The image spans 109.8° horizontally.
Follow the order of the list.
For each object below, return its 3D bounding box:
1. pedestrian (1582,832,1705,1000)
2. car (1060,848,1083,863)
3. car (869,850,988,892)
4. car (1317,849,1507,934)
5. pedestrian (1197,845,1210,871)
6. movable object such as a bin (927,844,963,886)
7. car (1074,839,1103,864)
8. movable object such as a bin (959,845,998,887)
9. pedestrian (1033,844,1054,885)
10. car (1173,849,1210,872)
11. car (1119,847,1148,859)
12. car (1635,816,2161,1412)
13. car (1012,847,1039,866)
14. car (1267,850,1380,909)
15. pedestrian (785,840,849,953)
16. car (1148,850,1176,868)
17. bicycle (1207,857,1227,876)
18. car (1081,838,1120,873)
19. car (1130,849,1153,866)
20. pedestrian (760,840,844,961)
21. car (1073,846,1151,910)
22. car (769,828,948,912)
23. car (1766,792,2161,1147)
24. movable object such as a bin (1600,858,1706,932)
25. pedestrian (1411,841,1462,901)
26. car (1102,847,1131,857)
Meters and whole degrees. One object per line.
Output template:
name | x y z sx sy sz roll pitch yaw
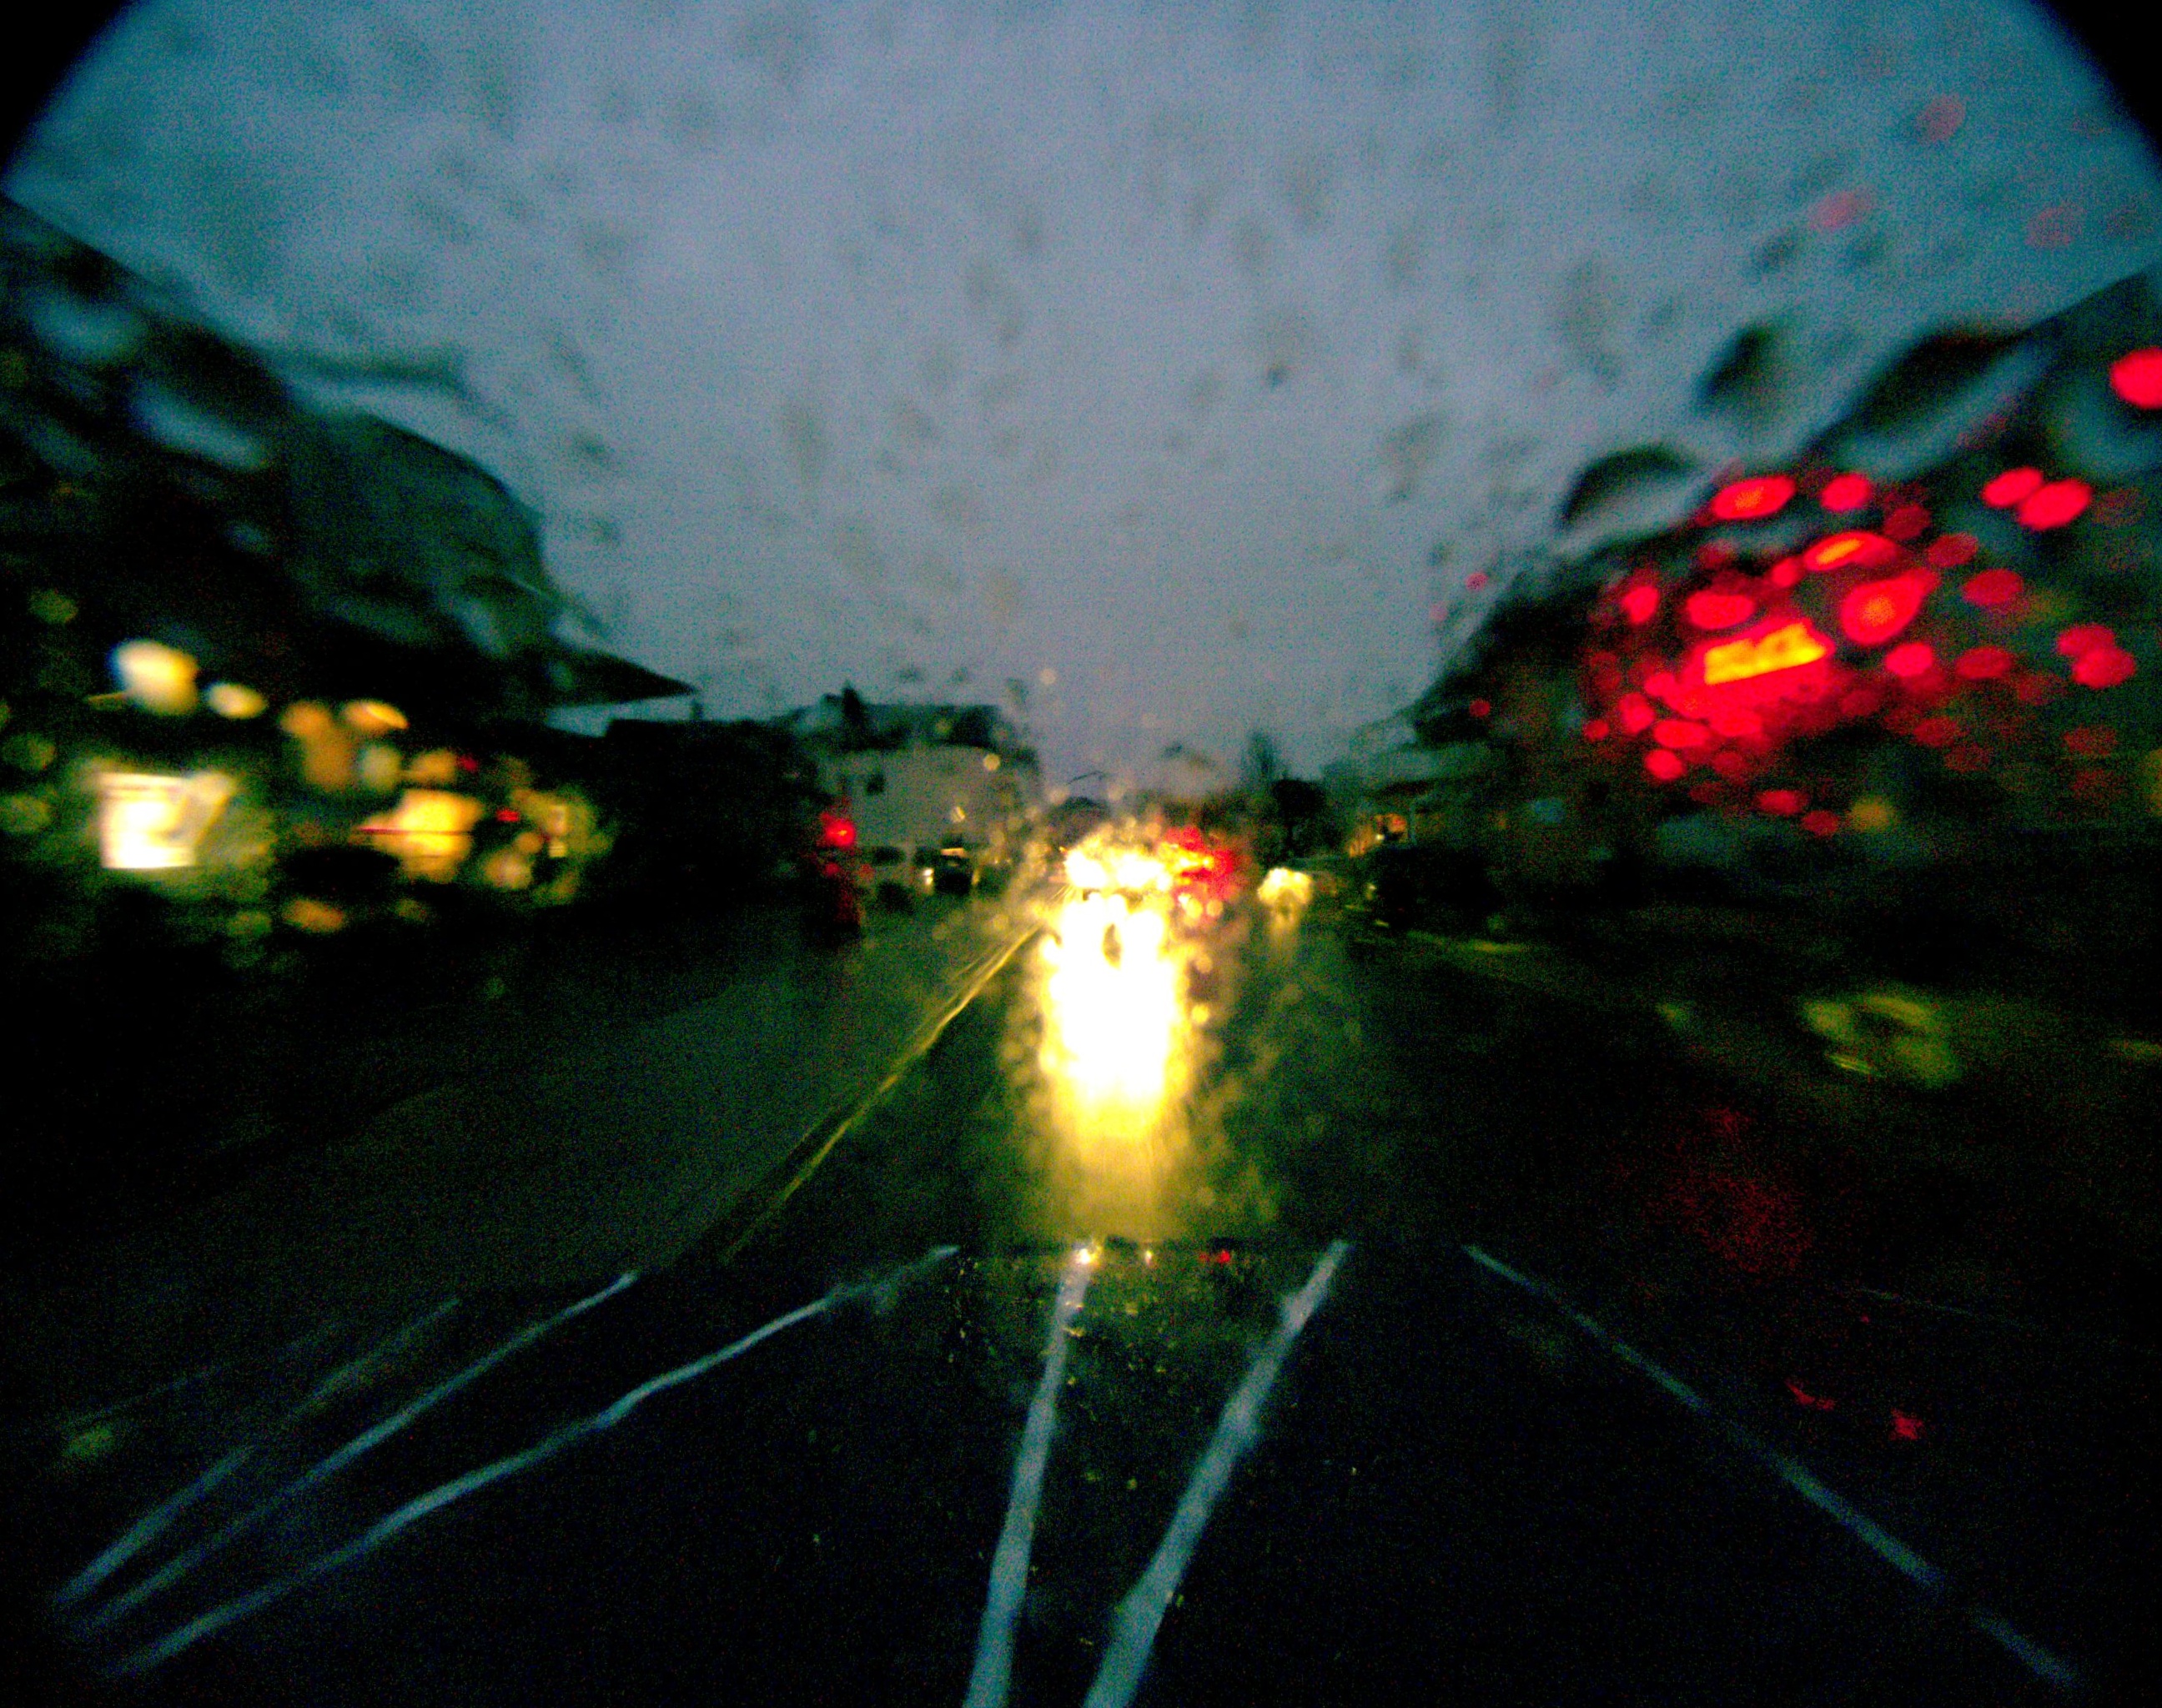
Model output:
pedestrian | 6.647 0.685 9.048 1.010 1.865 0.944 -1 1 26
car | -1.041 0.124 82.089 2.000 1.506 3.997 -2 1 -6
car | -5.626 0.594 28.447 3.996 1.478 1.912 0 2 3
car | 6.922 0.685 16.584 1.998 1.514 4.977 -1 1 0
pedestrian | 9.607 0.288 59.654 0.902 2.002 0.791 -1 1 7
movable object such as a bin | -5.530 0.431 30.980 1.289 1.634 1.185 2 1 -3
car | 0.565 -0.205 60.426 1.999 1.844 3.998 -2 1 -3
movable object such as a bin | -4.162 0.484 30.951 1.396 1.634 1.261 1 1 -2
pedestrian | -1.727 0.483 35.225 0.969 1.878 1.005 -1 1 -2
car | 7.643 0.403 53.063 1.789 1.480 4.181 -2 1 -2
car | 7.044 -0.131 102.216 3.840 1.537 2.000 -2 1 5
car | 4.081 0.697 1.622 1.999 1.695 4.966 -3 -1 -2
car | -4.719 0.188 65.339 1.935 1.476 4.696 -2 0 0
car | 7.259 0.692 23.283 1.998 1.549 4.620 -2 1 1
pedestrian | -4.109 0.640 11.888 0.705 1.695 0.914 1 1 -3
car | 6.823 0.371 64.292 1.699 1.423 4.376 -2 0 -2
bicycle | 7.835 0.718 43.738 0.325 1.055 1.742 4 -2 -16
car | 1.175 0.067 47.029 1.999 2.002 3.998 -2 1 -3
car | 6.120 0.320 77.225 1.840 1.526 4.137 -2 1 -2
pedestrian | -4.088 0.647 11.187 0.837 1.695 0.846 1 1 12
car | 0.856 0.653 23.294 1.999 1.720 3.998 -2 1 -2
car | -5.886 0.390 20.383 4.098 2.038 2.001 1 1 8
car | 6.480 0.554 3.398 2.092 1.781 5.022 -2 0 -4
movable object such as a bin | 11.012 0.777 14.654 1.345 1.346 0.888 2 1 -9
pedestrian | 10.148 0.479 21.741 0.829 1.649 1.096 -2 1 -7
car | 5.008 -0.324 107.723 3.996 1.291 2.000 -2 1 3
